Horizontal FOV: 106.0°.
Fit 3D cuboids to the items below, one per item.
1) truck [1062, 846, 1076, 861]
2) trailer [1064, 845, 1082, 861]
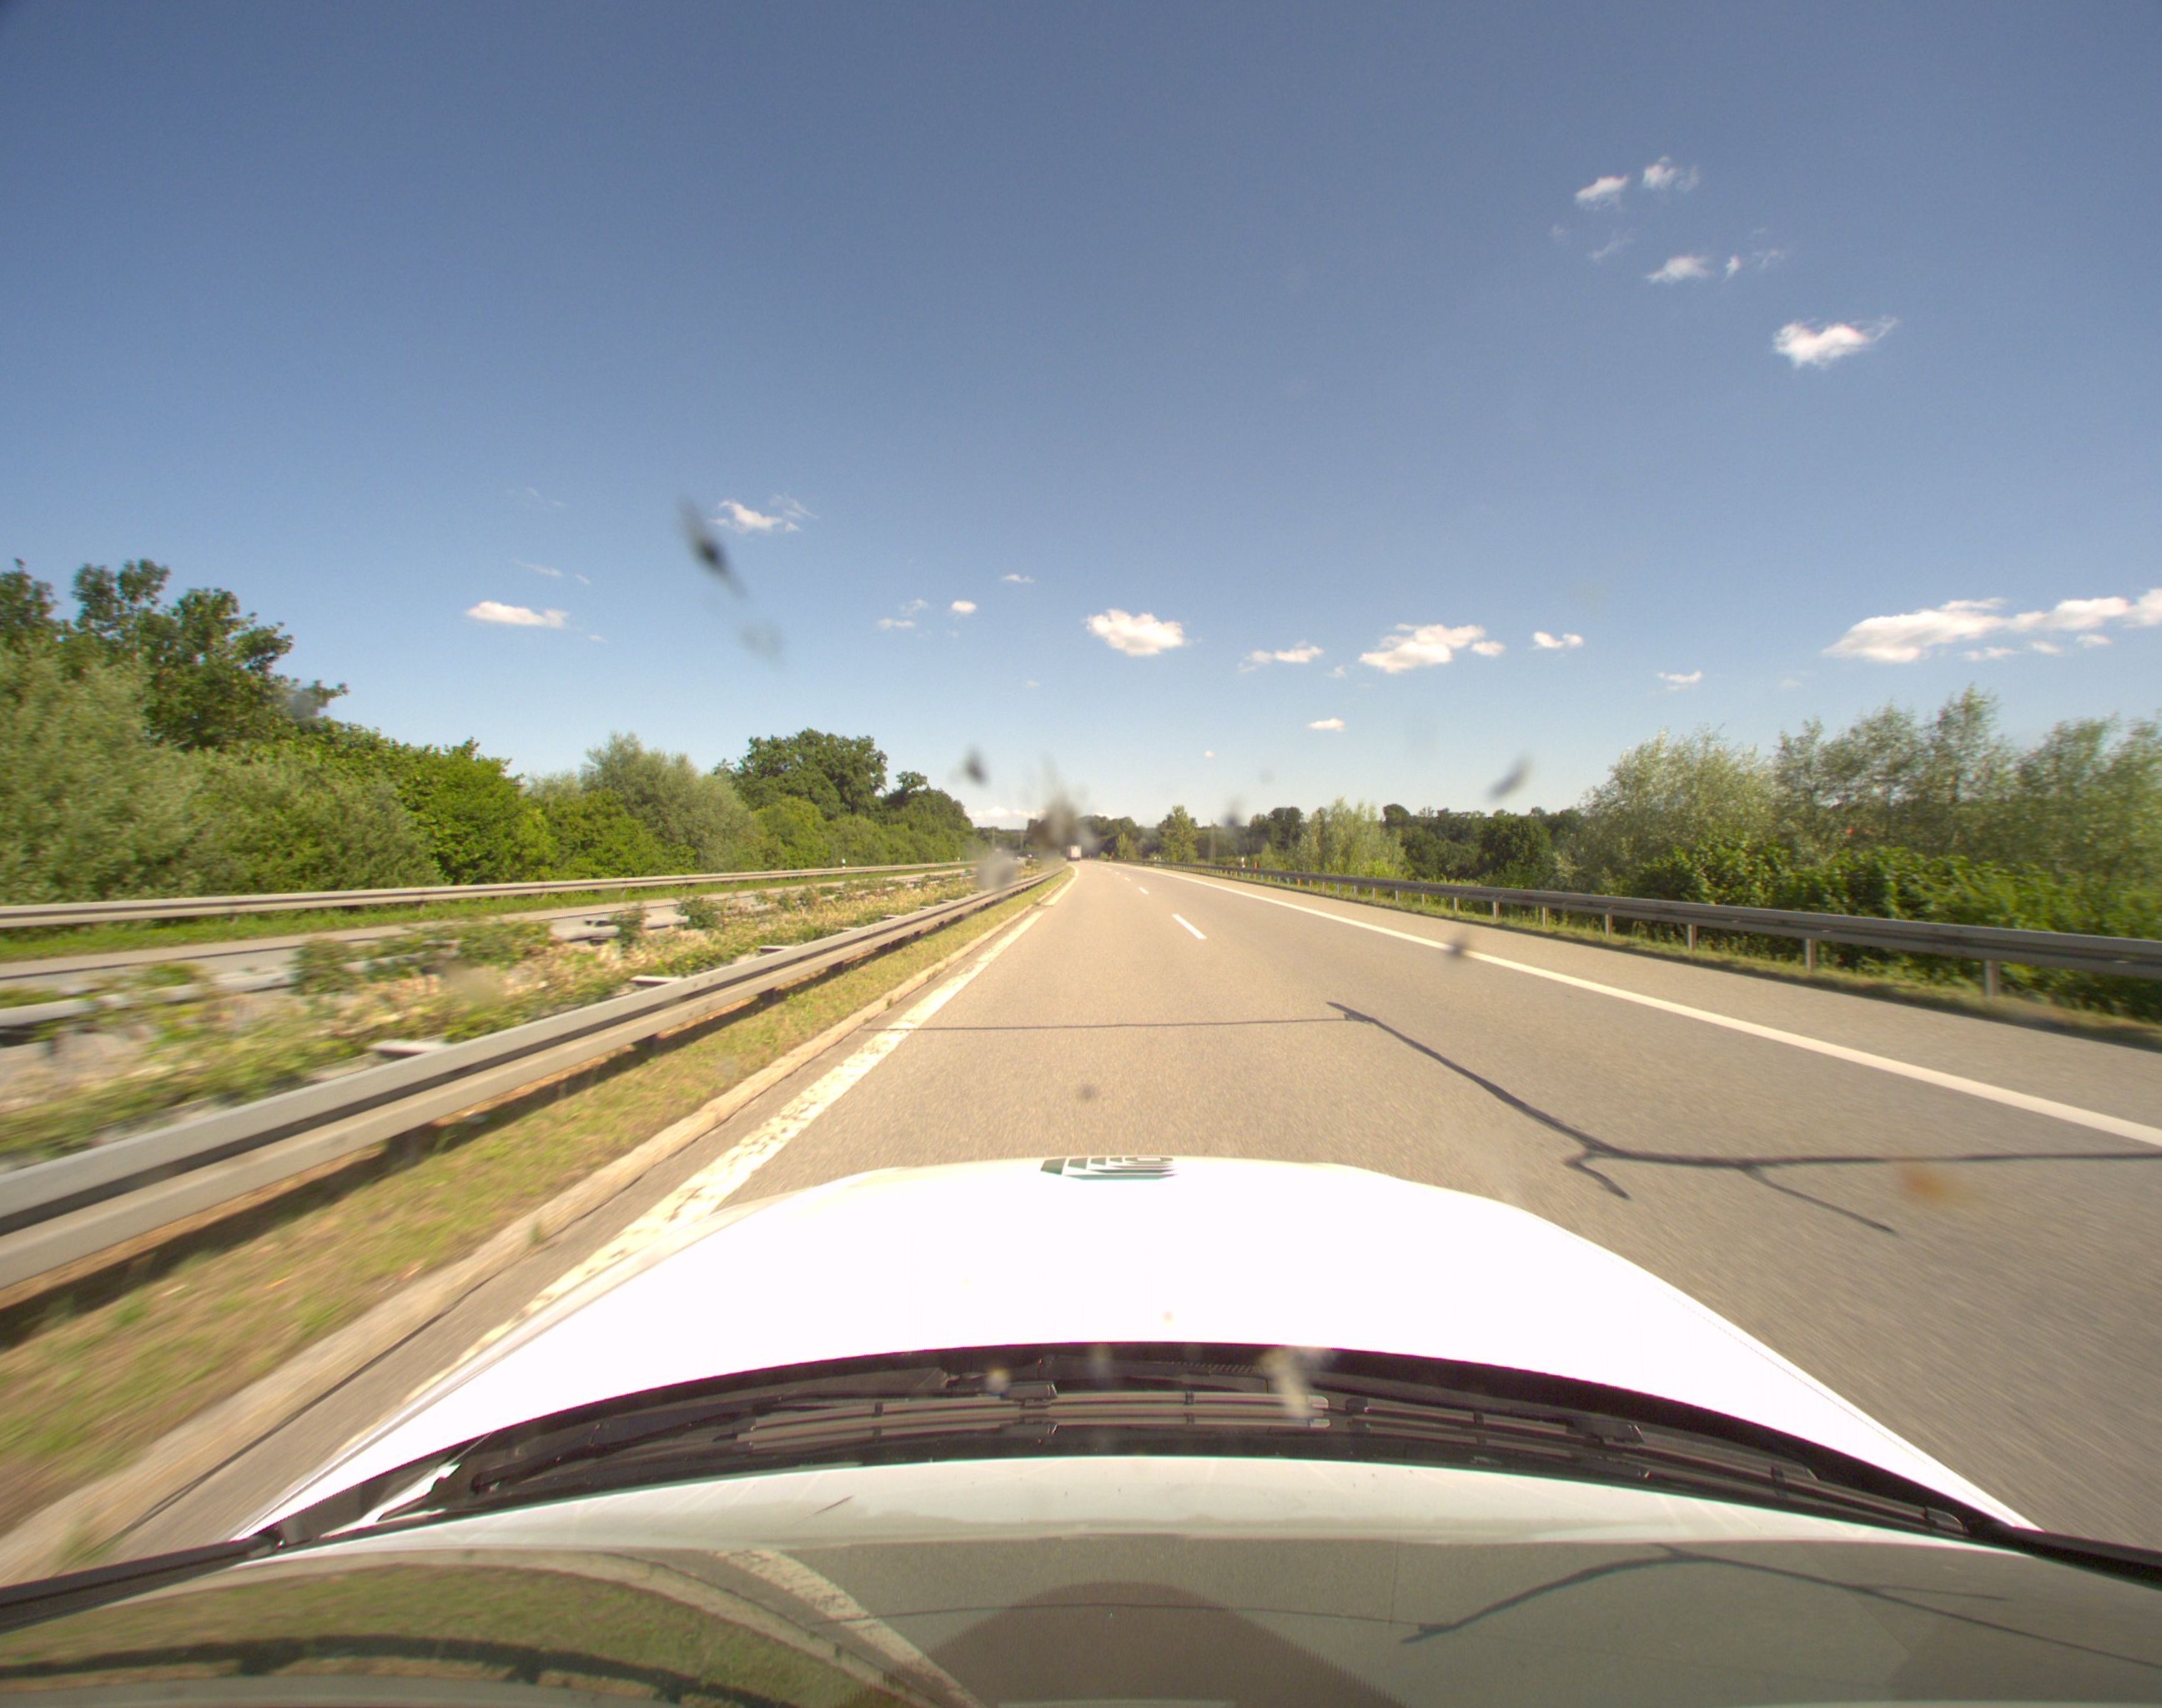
[{"bbox_3d":[-3.327,-0.254,222.074,2.832,4.012,6.562,-1,0,-11],"label":"truck"},{"bbox_3d":[-2.201,-0.176,215.942,2.885,4.066,12.376,-1,0,-10],"label":"trailer"}]
